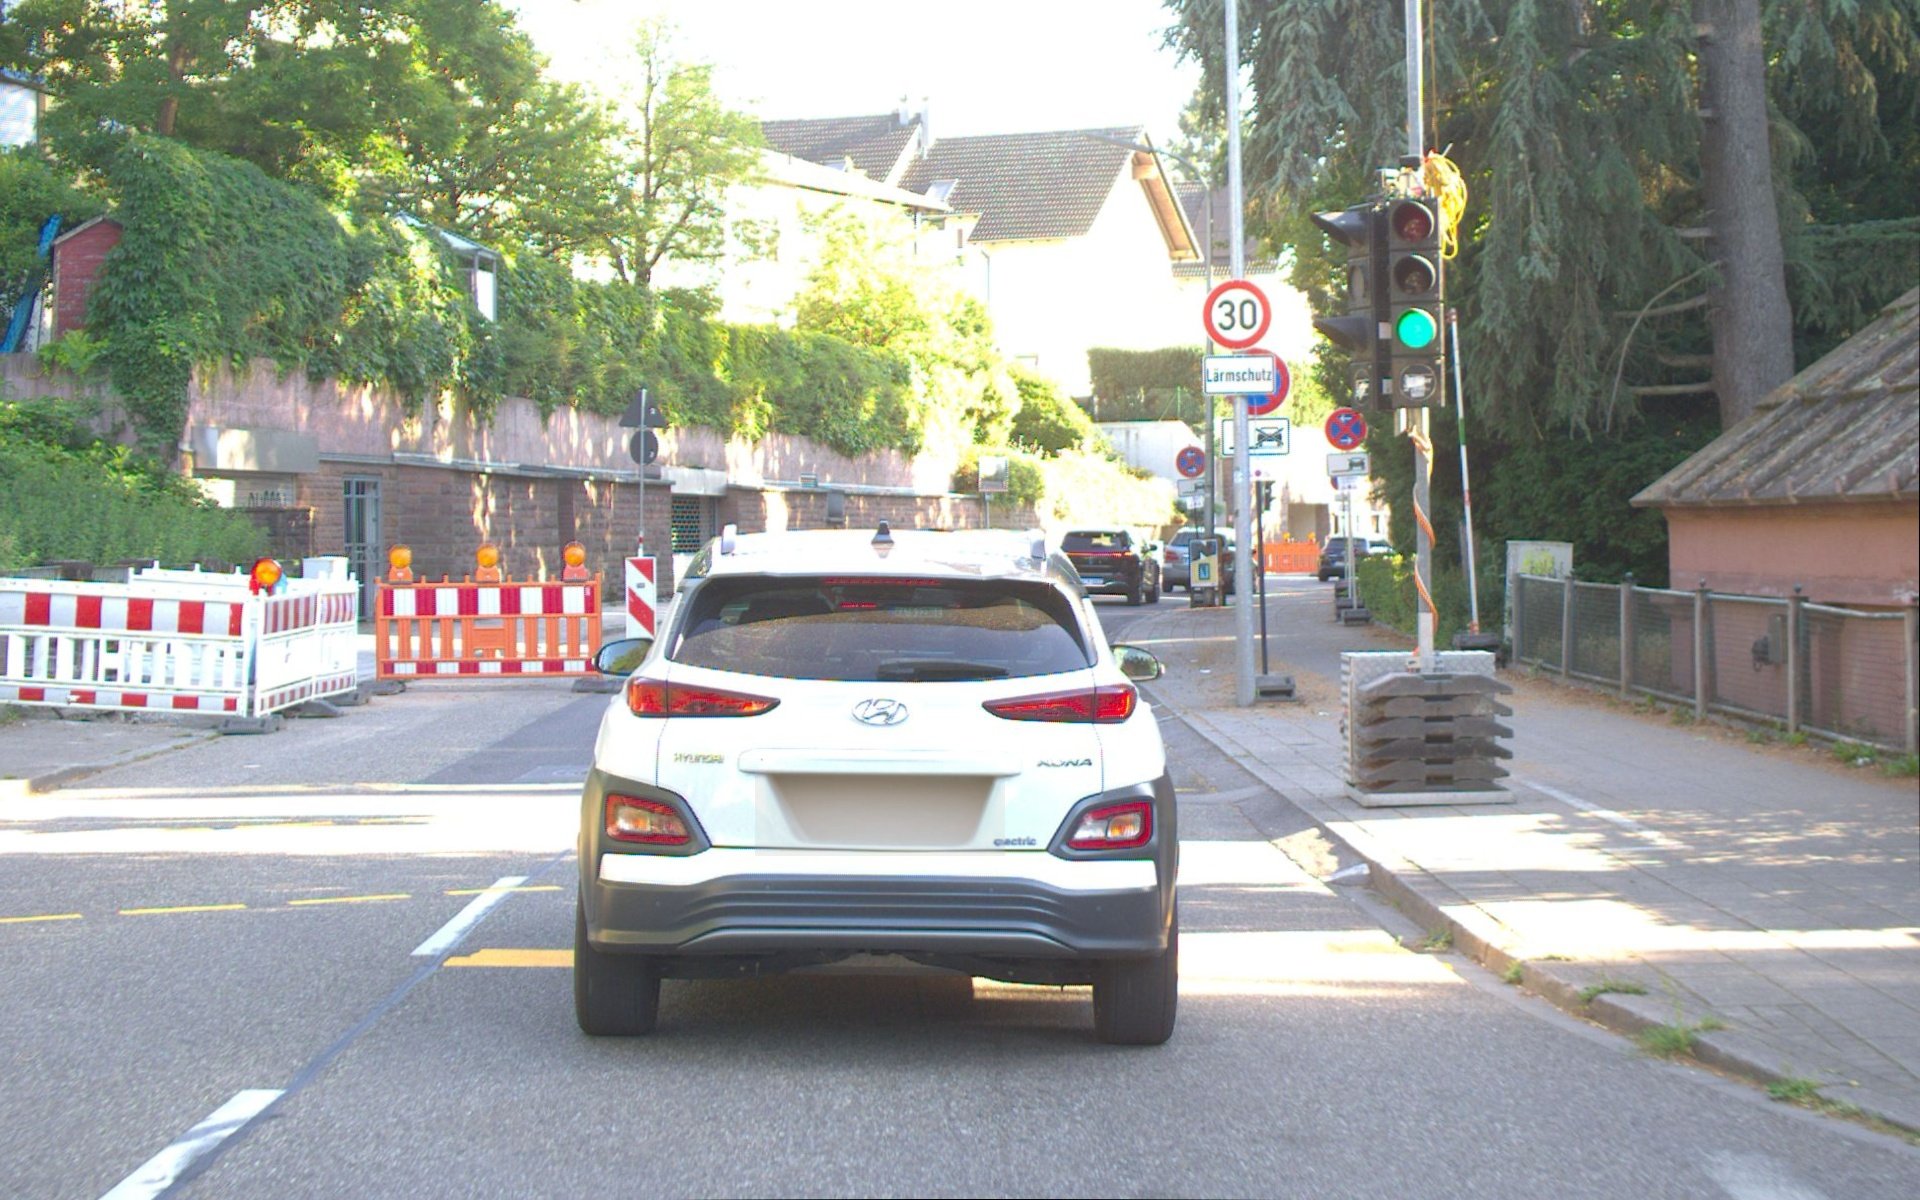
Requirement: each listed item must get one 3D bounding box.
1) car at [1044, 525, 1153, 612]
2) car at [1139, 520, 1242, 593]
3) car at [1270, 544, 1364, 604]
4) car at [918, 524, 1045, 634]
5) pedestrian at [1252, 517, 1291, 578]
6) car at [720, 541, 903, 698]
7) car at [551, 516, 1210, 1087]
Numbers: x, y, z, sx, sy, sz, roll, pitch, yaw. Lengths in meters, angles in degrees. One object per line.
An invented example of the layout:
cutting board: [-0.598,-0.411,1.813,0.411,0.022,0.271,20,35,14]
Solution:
car: [2.837,-0.663,69.787,1.832,1.656,3.999,2,1,7]
car: [5.642,-1.073,83.683,1.833,1.735,3.998,0,1,14]
car: [10.416,-0.758,100.134,1.833,1.656,3.996,2,1,19]
car: [0.309,-0.350,51.854,1.805,1.532,4.000,2,1,0]
pedestrian: [9.932,-1.674,109.622,1.080,1.905,0.840,2,1,16]
car: [-1.461,0.148,35.166,1.708,1.429,4.365,2,1,-1]
car: [-0.385,0.527,11.706,1.820,1.568,4.001,2,1,-5]
